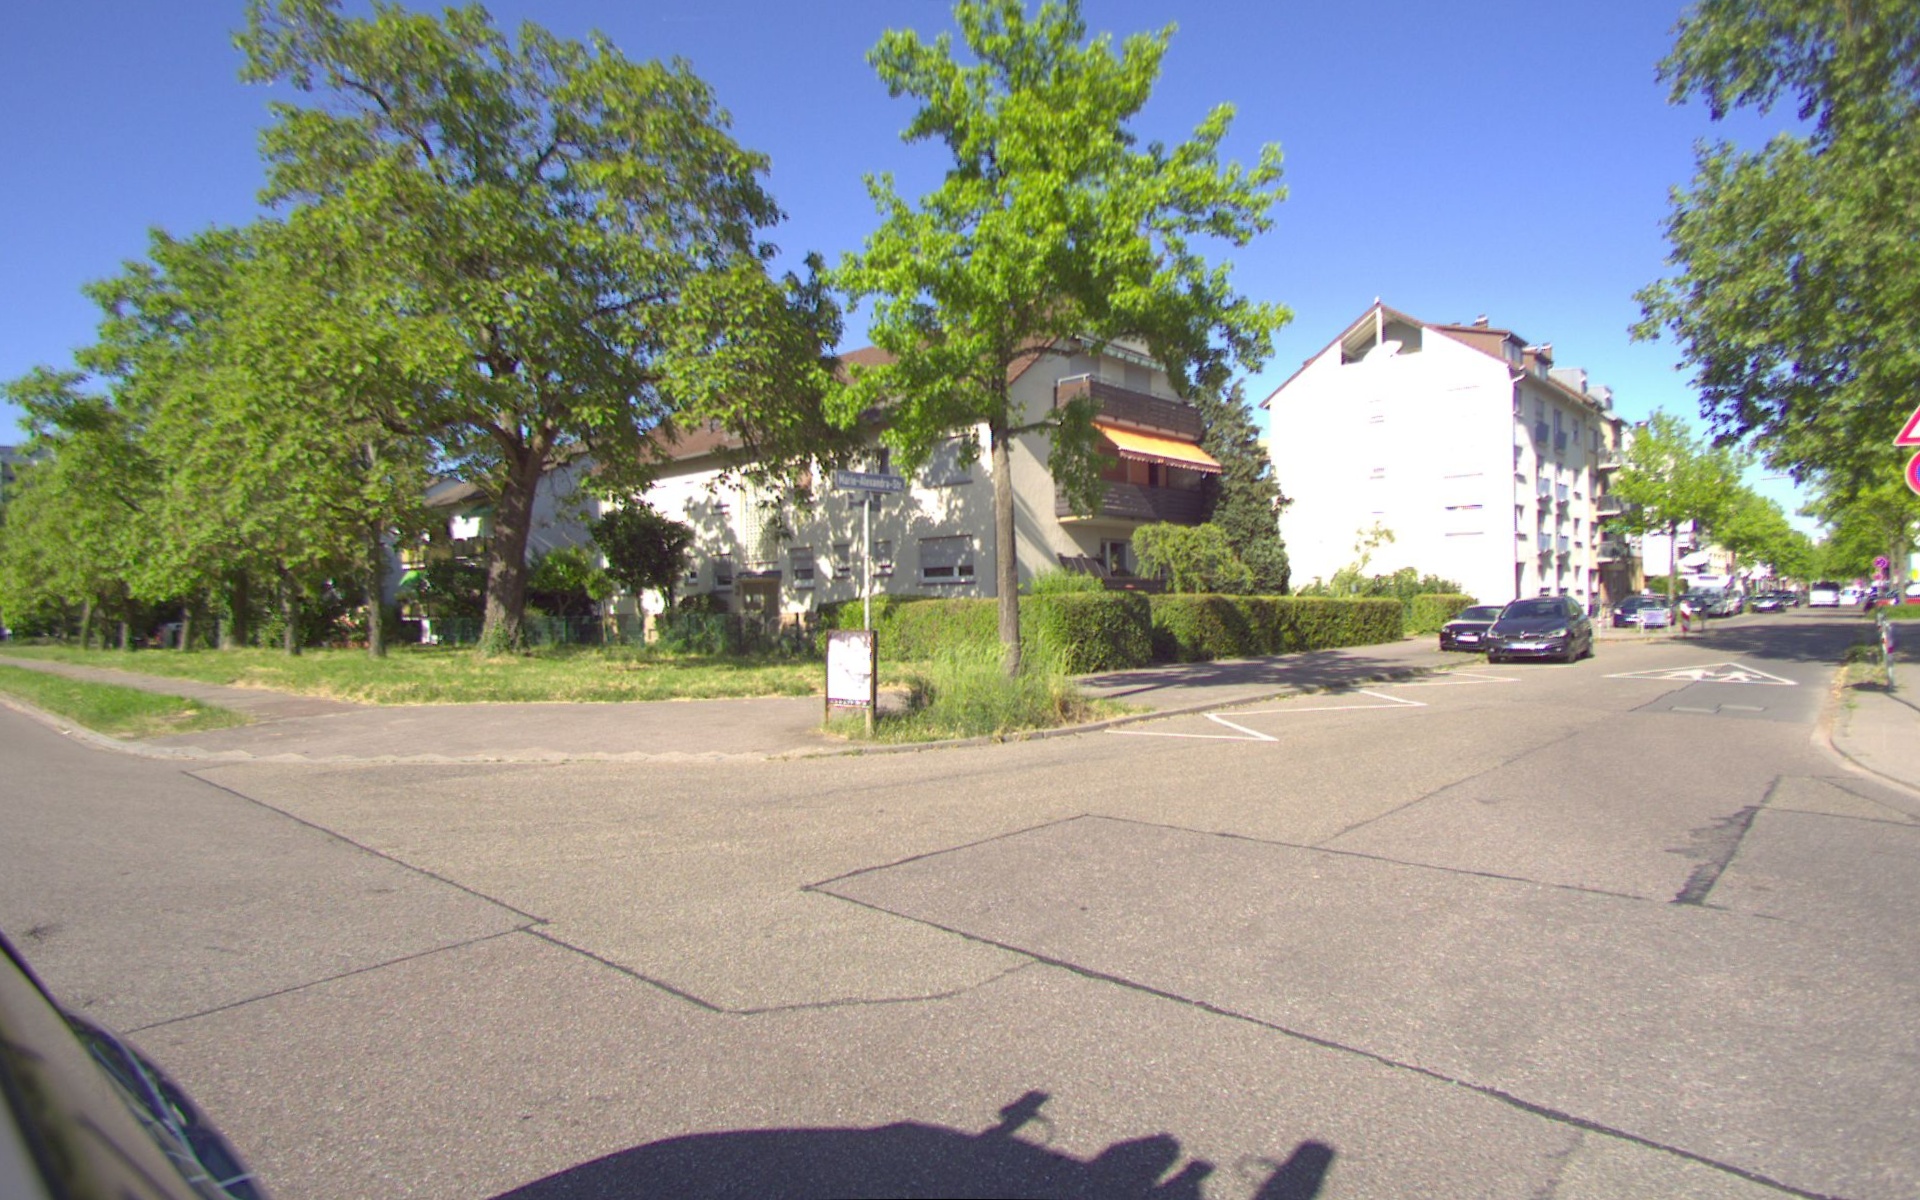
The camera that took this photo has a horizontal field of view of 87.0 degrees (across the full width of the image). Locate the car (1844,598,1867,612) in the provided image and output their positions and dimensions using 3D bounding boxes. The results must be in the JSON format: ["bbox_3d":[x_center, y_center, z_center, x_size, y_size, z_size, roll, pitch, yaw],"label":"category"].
[{"bbox_3d":[114.681,0.626,129.576,2.000,1.763,3.942,-2,-1,44],"label":"car"}]

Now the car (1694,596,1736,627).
[{"bbox_3d":[52.760,0.805,70.731,1.999,2.029,3.945,-2,-1,41],"label":"car"}]

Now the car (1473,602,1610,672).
[{"bbox_3d":[14.183,0.876,24.602,2.115,1.469,4.053,-4,-2,41],"label":"car"}]

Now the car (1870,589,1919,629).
[{"bbox_3d":[49.913,0.423,51.917,4.681,2.029,1.971,-2,-1,44],"label":"car"}]

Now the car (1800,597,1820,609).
[{"bbox_3d":[132.196,0.479,157.402,1.996,1.763,3.951,-2,-1,36],"label":"car"}]

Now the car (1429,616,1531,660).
[{"bbox_3d":[14.867,1.050,28.831,1.630,1.039,3.967,-2,0,42],"label":"car"}]

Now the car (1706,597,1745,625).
[{"bbox_3d":[56.886,0.791,75.189,1.999,1.950,3.945,-2,-1,41],"label":"car"}]

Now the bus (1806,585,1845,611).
[{"bbox_3d":[90.271,-0.242,105.476,2.798,2.528,10.051,-2,0,42],"label":"bus"}]

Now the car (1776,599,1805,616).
[{"bbox_3d":[86.979,0.769,106.011,2.000,1.763,3.942,-2,-1,44],"label":"car"}]

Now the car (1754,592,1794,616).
[{"bbox_3d":[62.839,0.332,78.103,2.000,1.763,3.942,-2,-1,44],"label":"car"}]

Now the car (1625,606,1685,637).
[{"bbox_3d":[28.407,0.881,41.340,1.539,1.202,3.946,-2,-2,41],"label":"car"}]

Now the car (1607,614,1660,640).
[{"bbox_3d":[31.941,1.266,47.979,1.539,1.202,3.946,-2,-2,41],"label":"car"}]
